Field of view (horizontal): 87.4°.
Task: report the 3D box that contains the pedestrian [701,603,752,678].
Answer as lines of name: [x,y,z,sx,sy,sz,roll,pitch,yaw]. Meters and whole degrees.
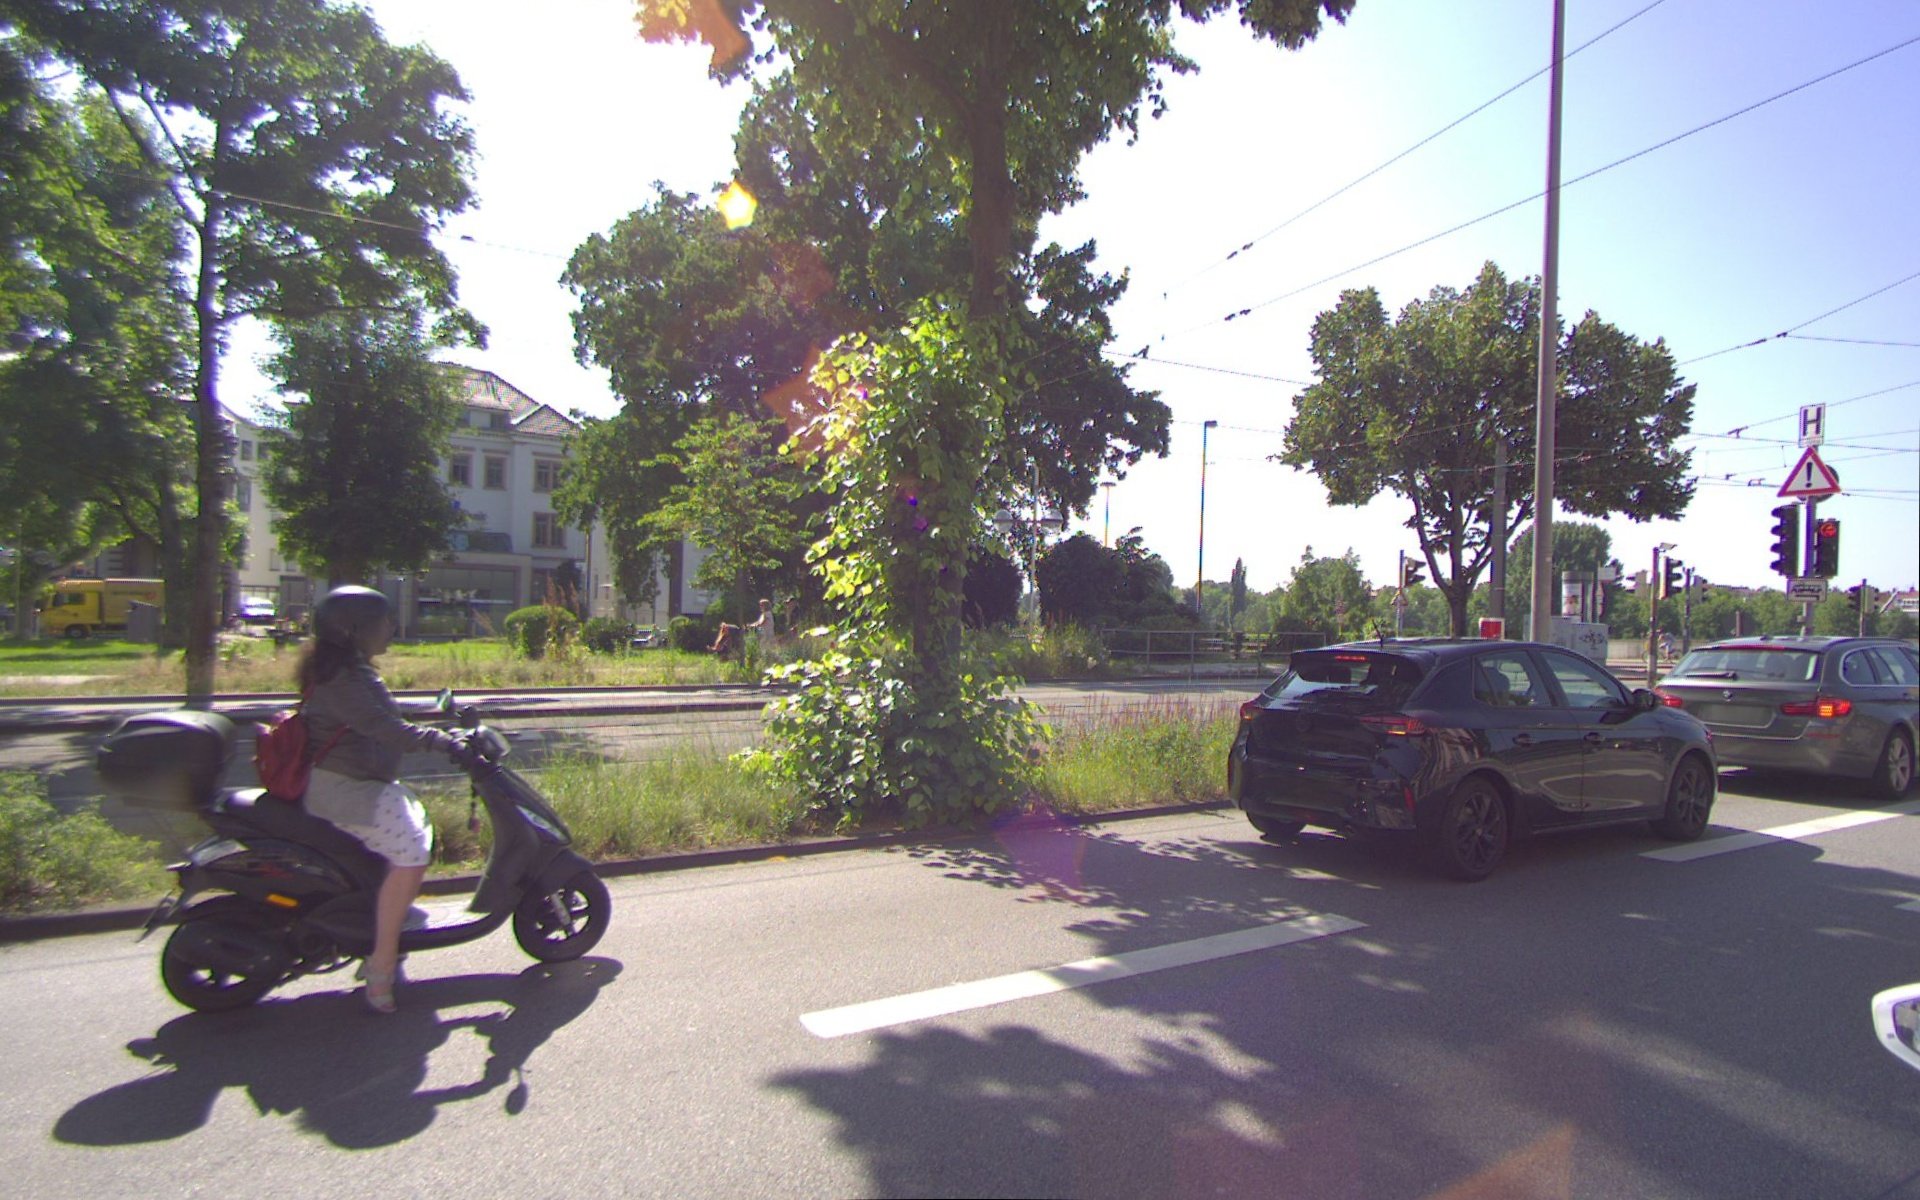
pedestrian: [-5.270,0.907,22.650,0.921,1.641,1.034,1,-1,-23]

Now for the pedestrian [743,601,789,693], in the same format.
pedestrian: [-4.448,1.054,22.974,0.790,2.040,1.219,1,-1,-23]

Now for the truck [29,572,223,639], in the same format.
truck: [-43.787,0.364,53.098,7.577,3.258,2.442,2,-1,-35]

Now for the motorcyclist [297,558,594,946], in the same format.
motorcyclist: [-2.140,0.553,4.208,0.981,1.376,0.896,1,-1,-30]

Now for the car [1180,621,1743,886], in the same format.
car: [3.702,0.910,7.288,3.953,1.430,1.784,2,-1,-30]

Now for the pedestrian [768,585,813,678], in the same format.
pedestrian: [-4.109,0.746,24.296,0.790,2.179,1.121,1,-1,-23]

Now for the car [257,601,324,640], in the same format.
car: [-38.610,1.156,57.891,4.488,2.040,1.991,1,0,40]

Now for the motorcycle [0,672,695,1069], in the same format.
motorcycle: [-2.369,0.924,4.105,2.326,1.178,0.896,2,-1,-31]

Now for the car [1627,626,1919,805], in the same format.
car: [9.120,1.049,10.407,4.689,1.505,1.740,2,-2,-29]
